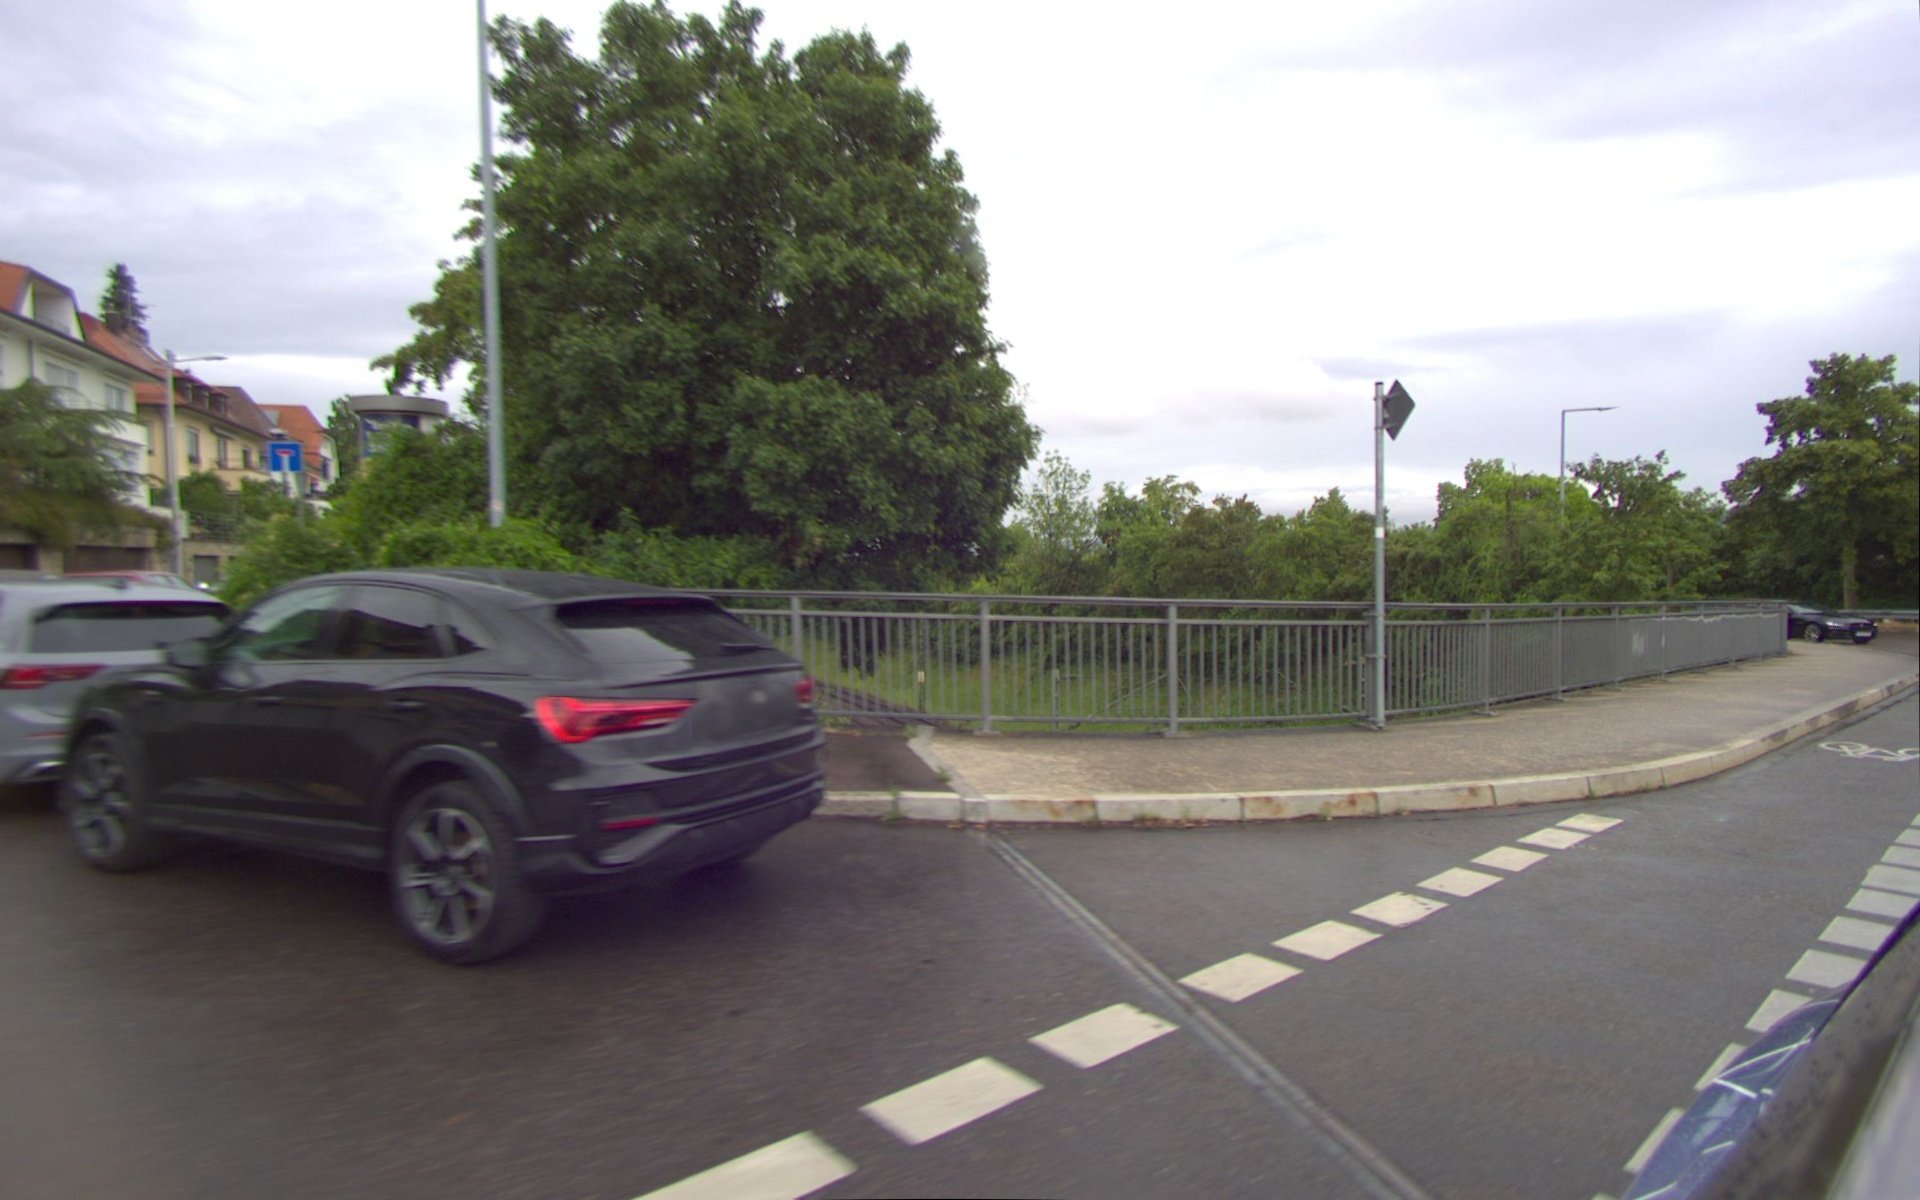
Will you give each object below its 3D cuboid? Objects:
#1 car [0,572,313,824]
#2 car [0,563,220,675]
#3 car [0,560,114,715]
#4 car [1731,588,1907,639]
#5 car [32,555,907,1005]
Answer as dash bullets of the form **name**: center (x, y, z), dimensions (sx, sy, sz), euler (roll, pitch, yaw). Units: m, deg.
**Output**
- **car**: center (-6.904, 0.520, 7.588), dimensions (4.020, 1.443, 1.783), euler (1, 2, 29)
- **car**: center (-12.991, 0.190, 15.623), dimensions (1.727, 1.507, 3.610), euler (-1, 2, -23)
- **car**: center (-10.767, 0.323, 11.316), dimensions (1.807, 1.507, 3.601), euler (1, 1, -37)
- **car**: center (27.897, 0.397, 33.076), dimensions (1.732, 1.472, 4.404), euler (2, 1, -5)
- **car**: center (-2.569, 0.584, 5.291), dimensions (4.159, 1.542, 1.982), euler (1, 0, 26)
